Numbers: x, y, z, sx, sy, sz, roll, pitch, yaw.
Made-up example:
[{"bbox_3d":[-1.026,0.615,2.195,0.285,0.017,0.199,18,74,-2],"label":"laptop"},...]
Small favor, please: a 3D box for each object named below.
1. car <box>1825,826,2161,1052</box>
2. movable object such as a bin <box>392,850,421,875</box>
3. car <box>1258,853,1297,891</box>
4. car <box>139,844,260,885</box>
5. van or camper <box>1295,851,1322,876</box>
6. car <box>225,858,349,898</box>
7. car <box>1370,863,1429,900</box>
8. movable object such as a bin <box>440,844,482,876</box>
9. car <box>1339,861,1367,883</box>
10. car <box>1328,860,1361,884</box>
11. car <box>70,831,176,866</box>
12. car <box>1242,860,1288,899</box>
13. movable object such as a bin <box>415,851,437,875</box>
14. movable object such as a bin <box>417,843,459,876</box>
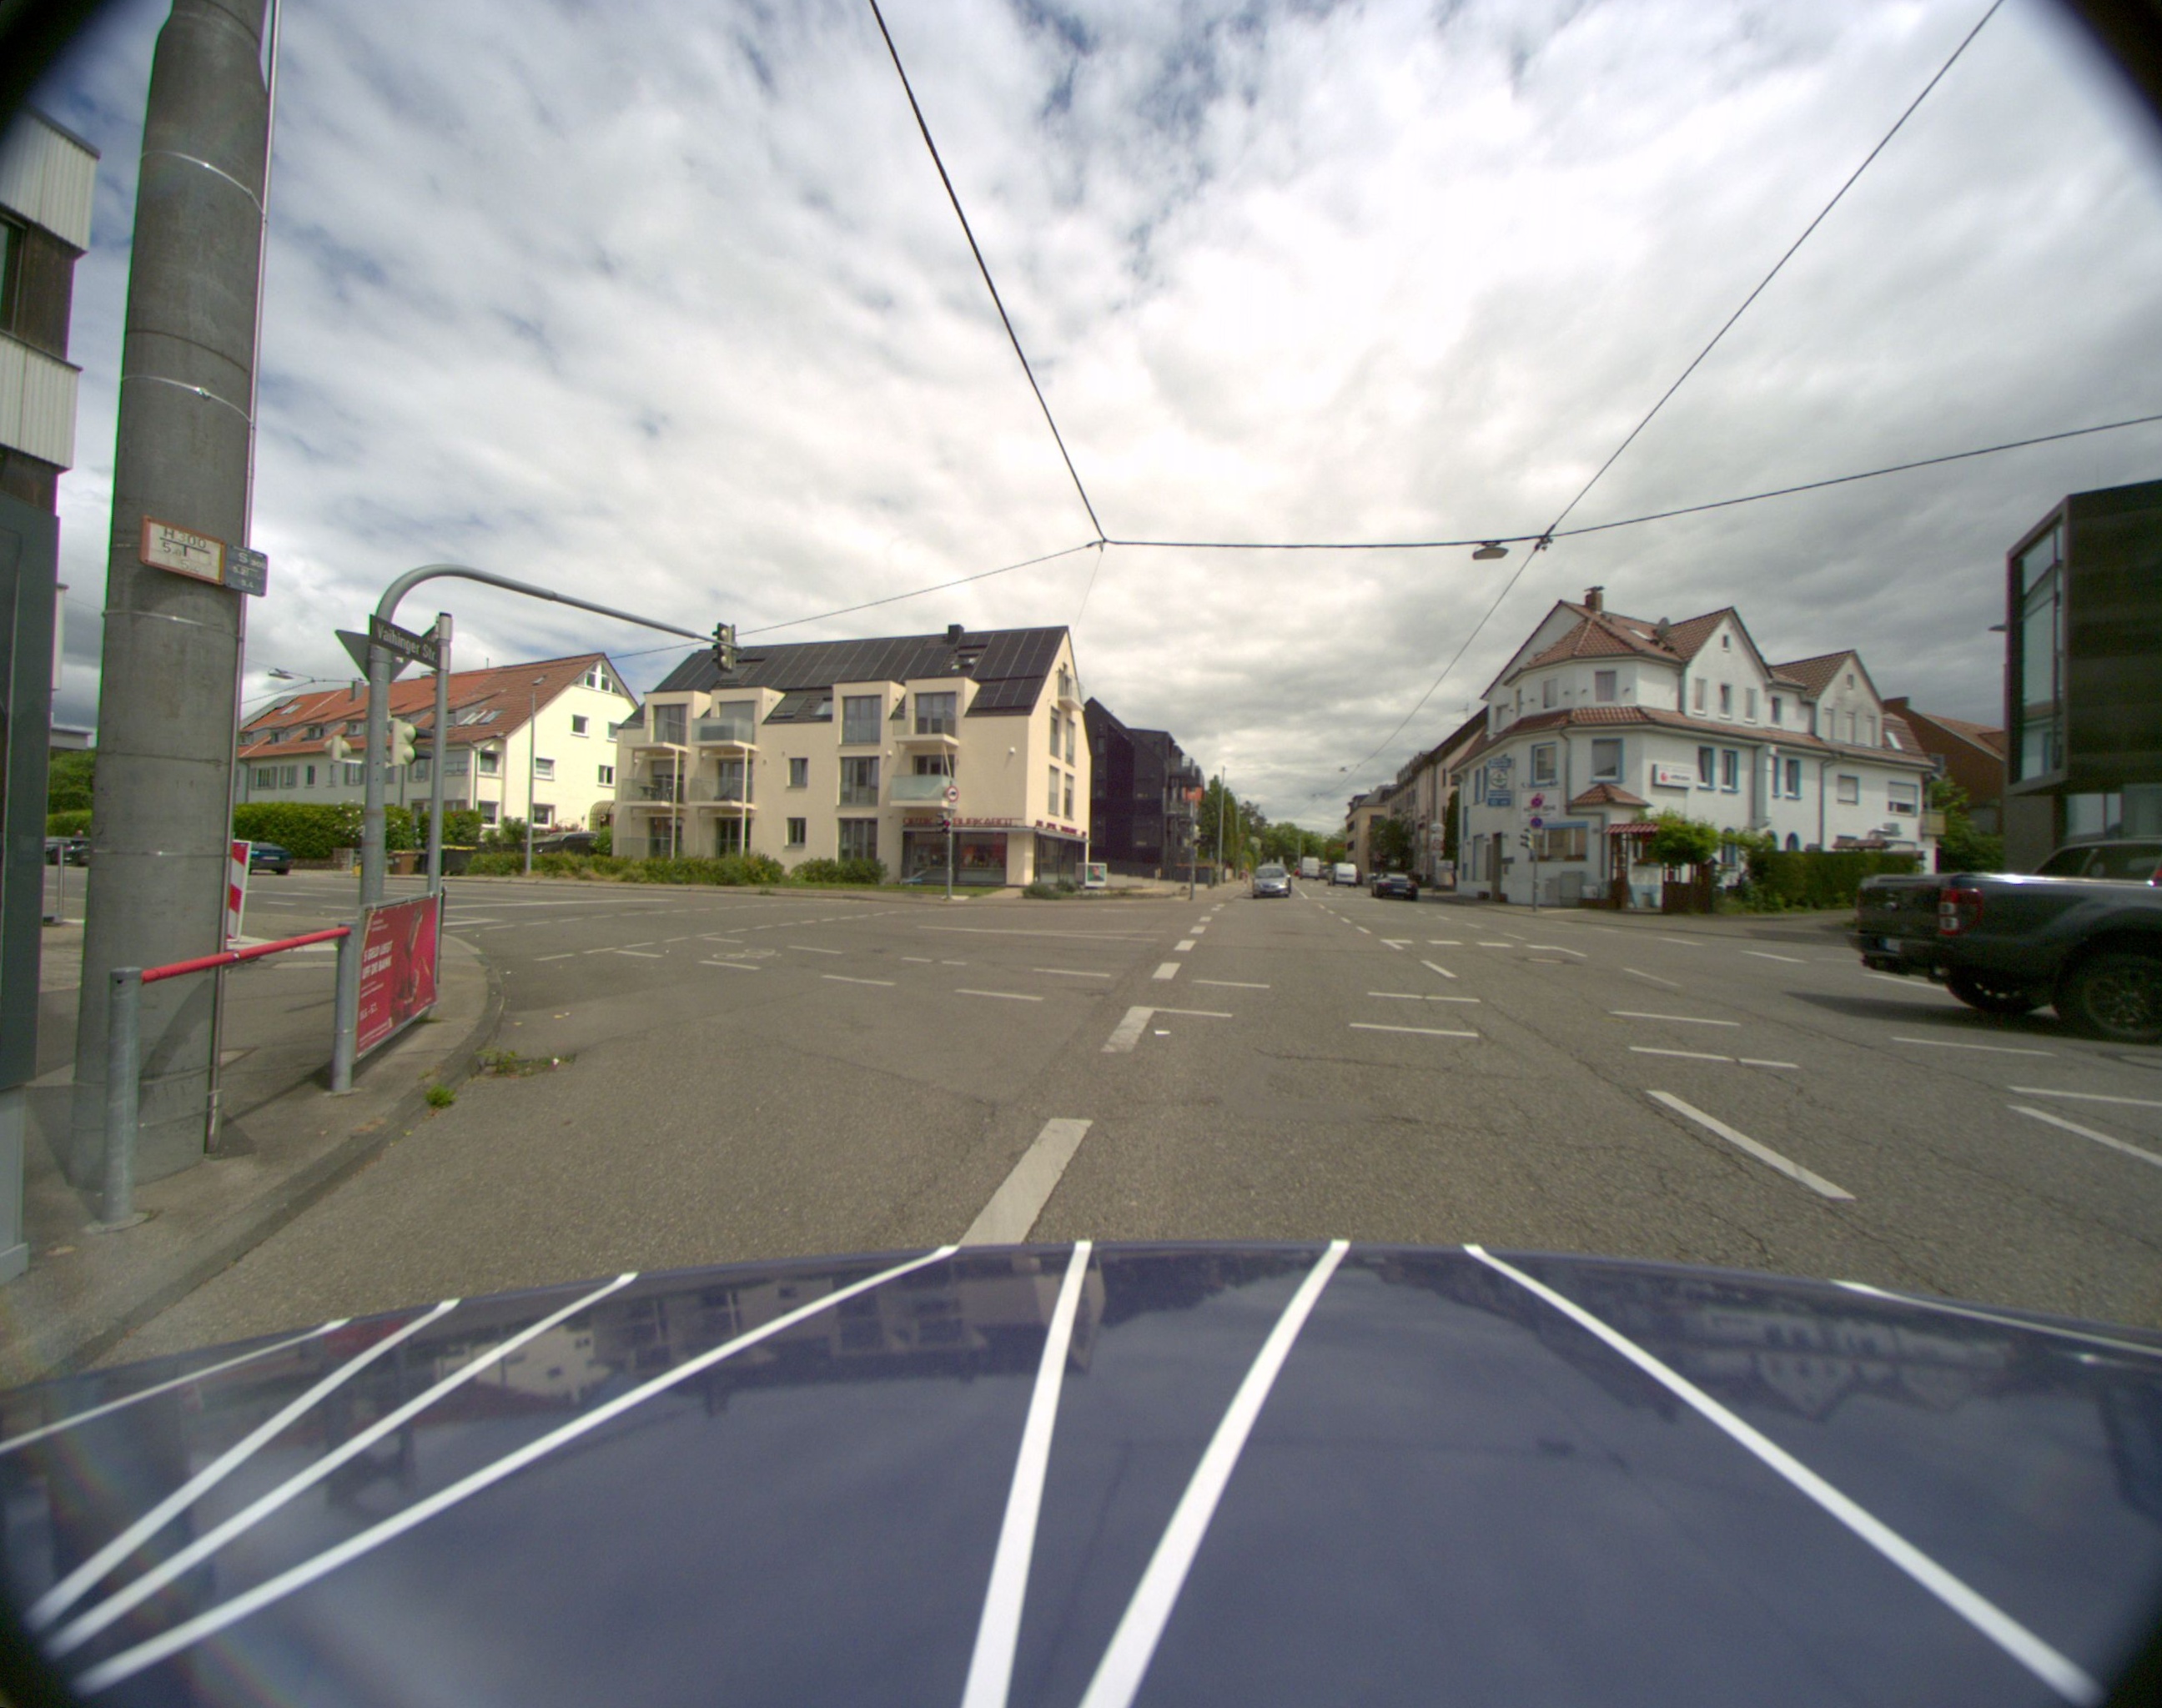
[{"bbox_3d":[10.314,0.737,6.543,5.207,1.838,1.892,1,0,25],"label":"car"},{"bbox_3d":[-30.356,0.384,34.212,0.690,1.059,0.766,2,0,28],"label":"movable object such as a bin"},{"bbox_3d":[10.921,0.966,42.364,1.996,2.002,4.005,1,0,14],"label":"car"},{"bbox_3d":[-38.505,0.445,33.187,4.442,1.623,2.003,1,0,20],"label":"car"},{"bbox_3d":[26.234,1.100,87.758,2.111,2.571,5.650,4,0,9],"label":"van or camper"},{"bbox_3d":[-33.552,0.984,32.113,4.443,1.492,1.822,1,0,18],"label":"car"},{"bbox_3d":[15.264,1.261,36.595,1.996,1.521,4.005,4,1,15],"label":"car"},{"bbox_3d":[-27.683,0.269,33.917,0.978,1.354,1.094,1,0,20],"label":"movable object such as a bin"},{"bbox_3d":[26.847,1.729,75.117,1.996,2.002,4.004,1,0,12],"label":"car"},{"bbox_3d":[20.804,1.427,60.130,1.818,1.801,4.424,2,-1,12],"label":"car"},{"bbox_3d":[-47.295,-0.256,37.527,4.226,1.623,2.003,1,0,20],"label":"car"},{"bbox_3d":[8.902,1.189,36.689,1.996,1.674,4.005,1,0,14],"label":"car"},{"bbox_3d":[-29.988,0.406,34.808,0.524,1.059,0.655,1,0,-18],"label":"movable object such as a bin"},{"bbox_3d":[-29.120,0.245,34.441,0.978,1.438,1.094,1,0,20],"label":"movable object such as a bin"}]
